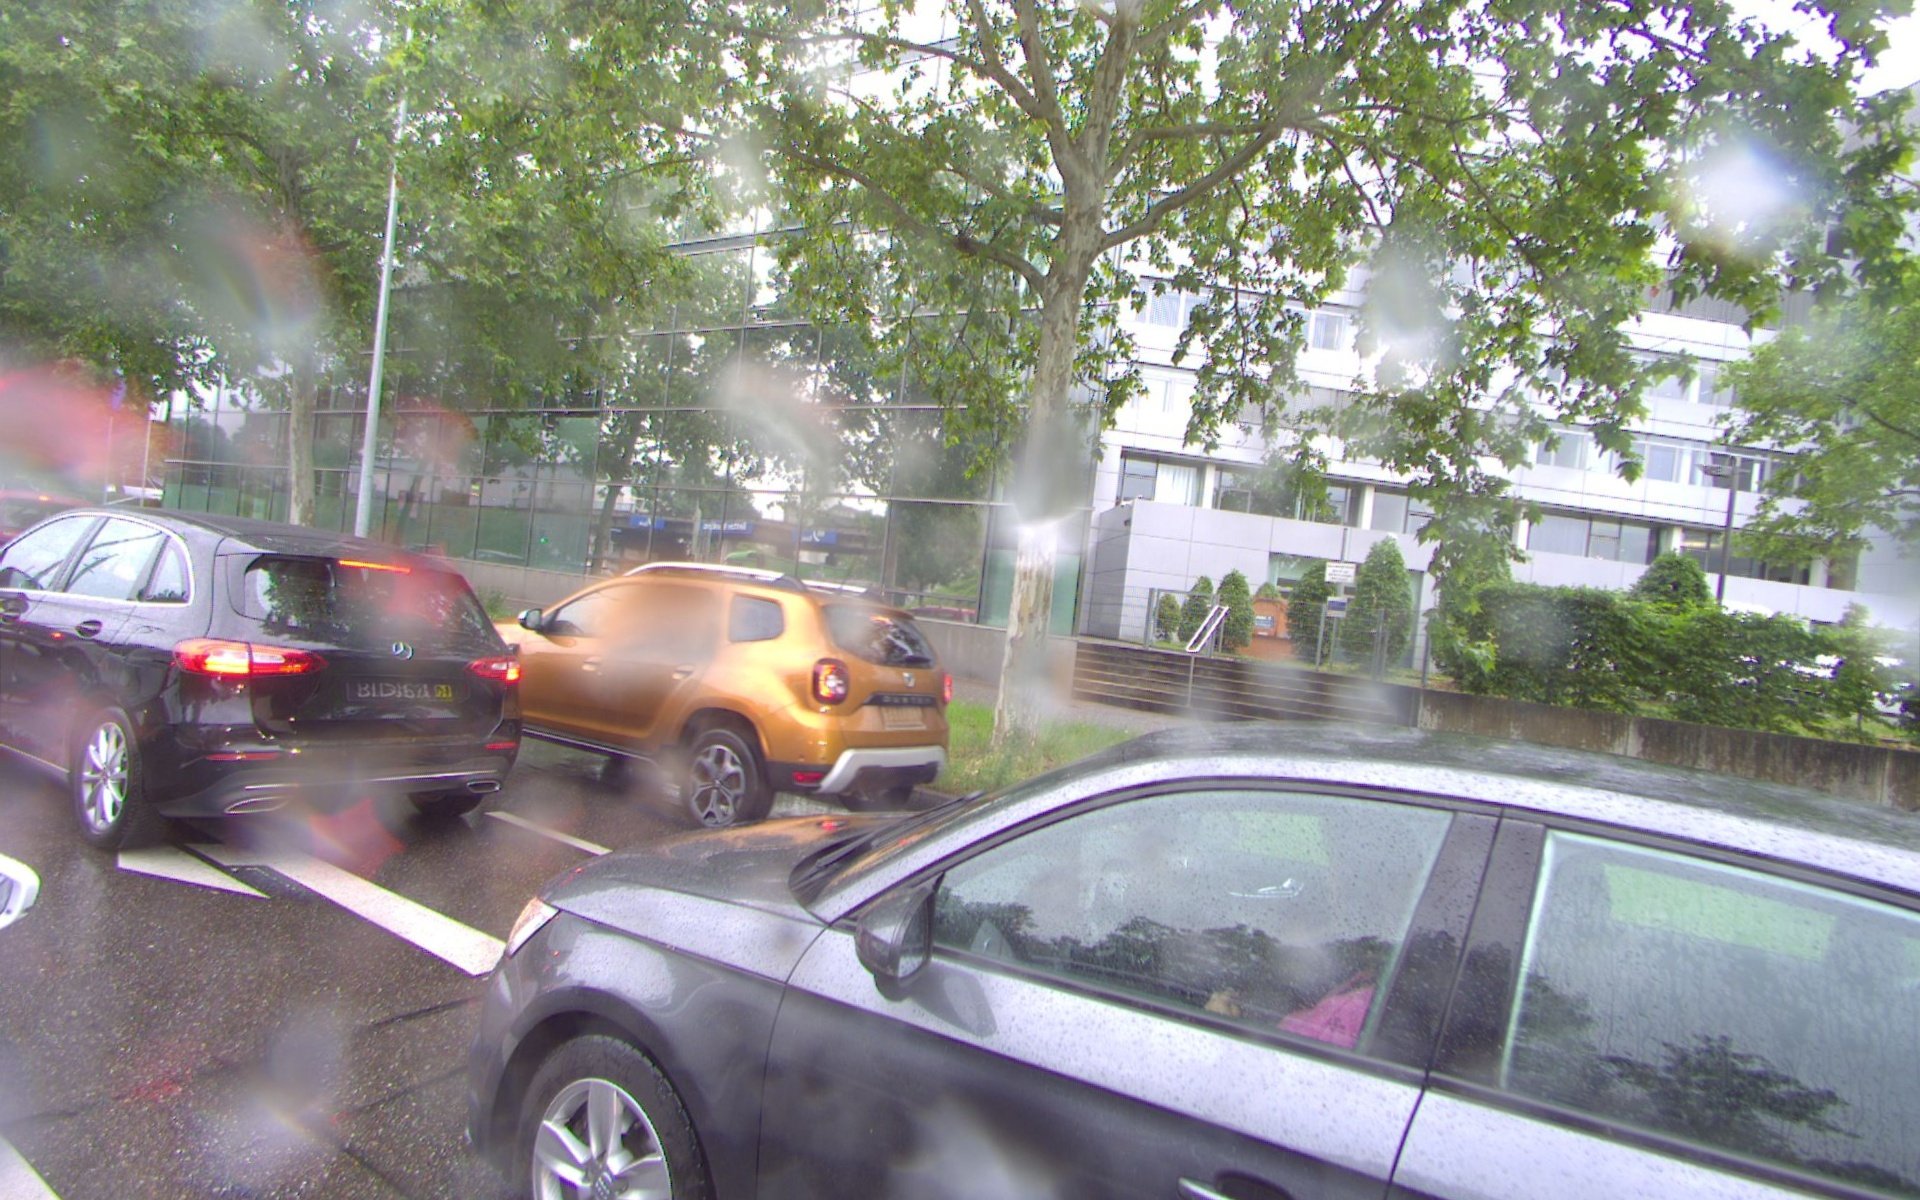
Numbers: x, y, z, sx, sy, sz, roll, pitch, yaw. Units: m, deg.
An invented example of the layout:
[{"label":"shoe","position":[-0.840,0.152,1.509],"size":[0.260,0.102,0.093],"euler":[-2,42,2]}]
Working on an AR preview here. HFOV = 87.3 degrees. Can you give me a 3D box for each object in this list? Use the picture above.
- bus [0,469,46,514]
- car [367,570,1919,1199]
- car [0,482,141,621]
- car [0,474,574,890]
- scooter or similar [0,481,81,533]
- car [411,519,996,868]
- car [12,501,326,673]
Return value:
[{"label":"bus","position":[-84.195,-9.738,84.408],"size":[2.435,3.465,12.015],"euler":[7,0,10]},{"label":"car","position":[0.688,0.908,2.117],"size":[3.718,1.445,1.679],"euler":[7,-1,31]},{"label":"car","position":[-14.074,-0.809,14.798],"size":[4.201,1.714,1.714],"euler":[6,-2,32]},{"label":"car","position":[-4.346,0.242,5.760],"size":[4.022,1.573,1.751],"euler":[7,-1,31]},{"label":"scooter or similar","position":[-54.529,-5.522,58.149],"size":[5.228,2.476,1.893],"euler":[7,0,-9]},{"label":"car","position":[-2.009,0.537,7.478],"size":[4.079,1.704,1.679],"euler":[8,-2,32]},{"label":"car","position":[-8.949,-0.162,11.350],"size":[3.332,1.480,1.572],"euler":[7,-1,31]}]
